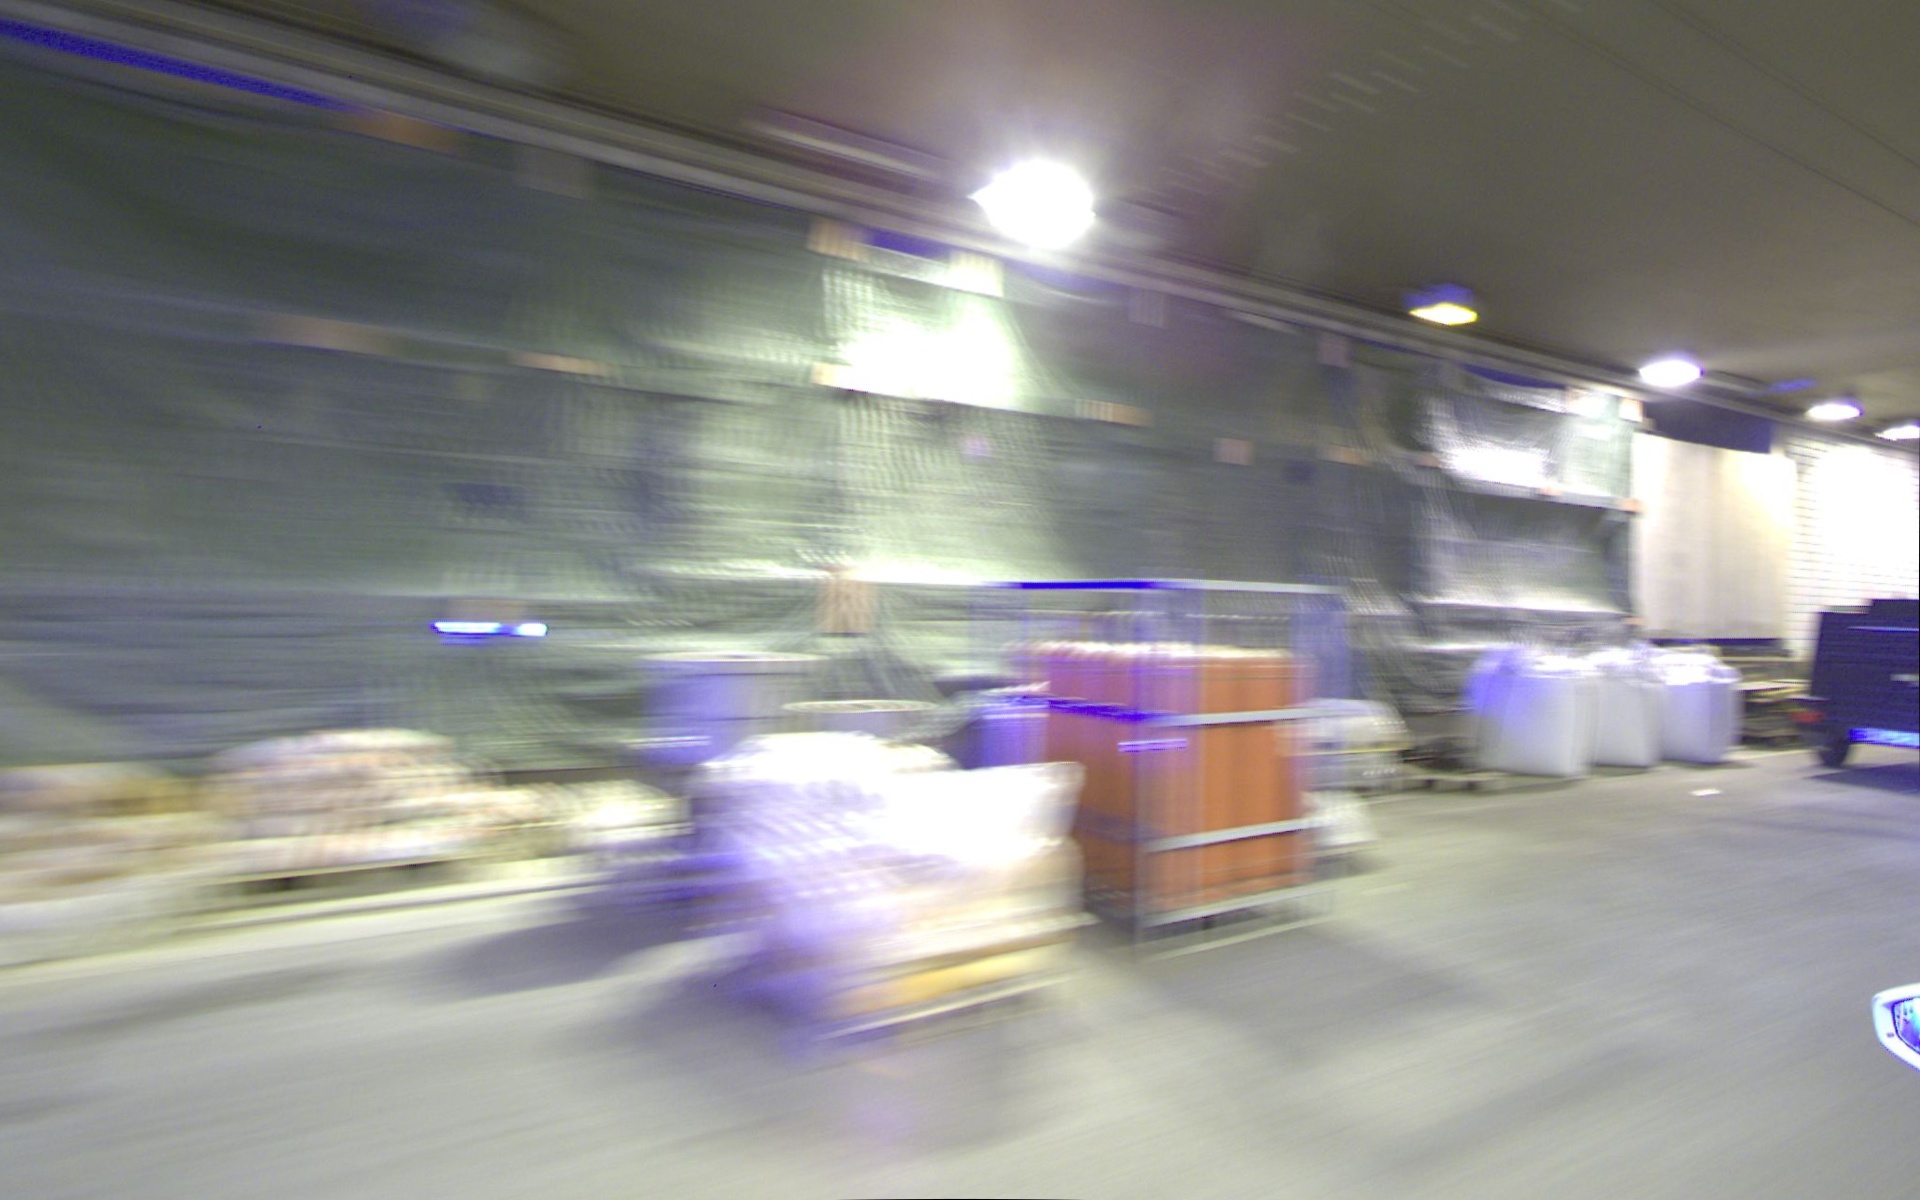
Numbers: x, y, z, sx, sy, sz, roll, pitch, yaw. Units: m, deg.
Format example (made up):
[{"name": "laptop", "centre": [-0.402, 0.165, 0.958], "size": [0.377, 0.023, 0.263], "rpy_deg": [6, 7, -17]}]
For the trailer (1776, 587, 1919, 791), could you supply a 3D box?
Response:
[{"name": "trailer", "centre": [9.708, 0.827, 9.949], "size": [2.905, 1.822, 1.573], "rpy_deg": [2, 0, -30]}]
